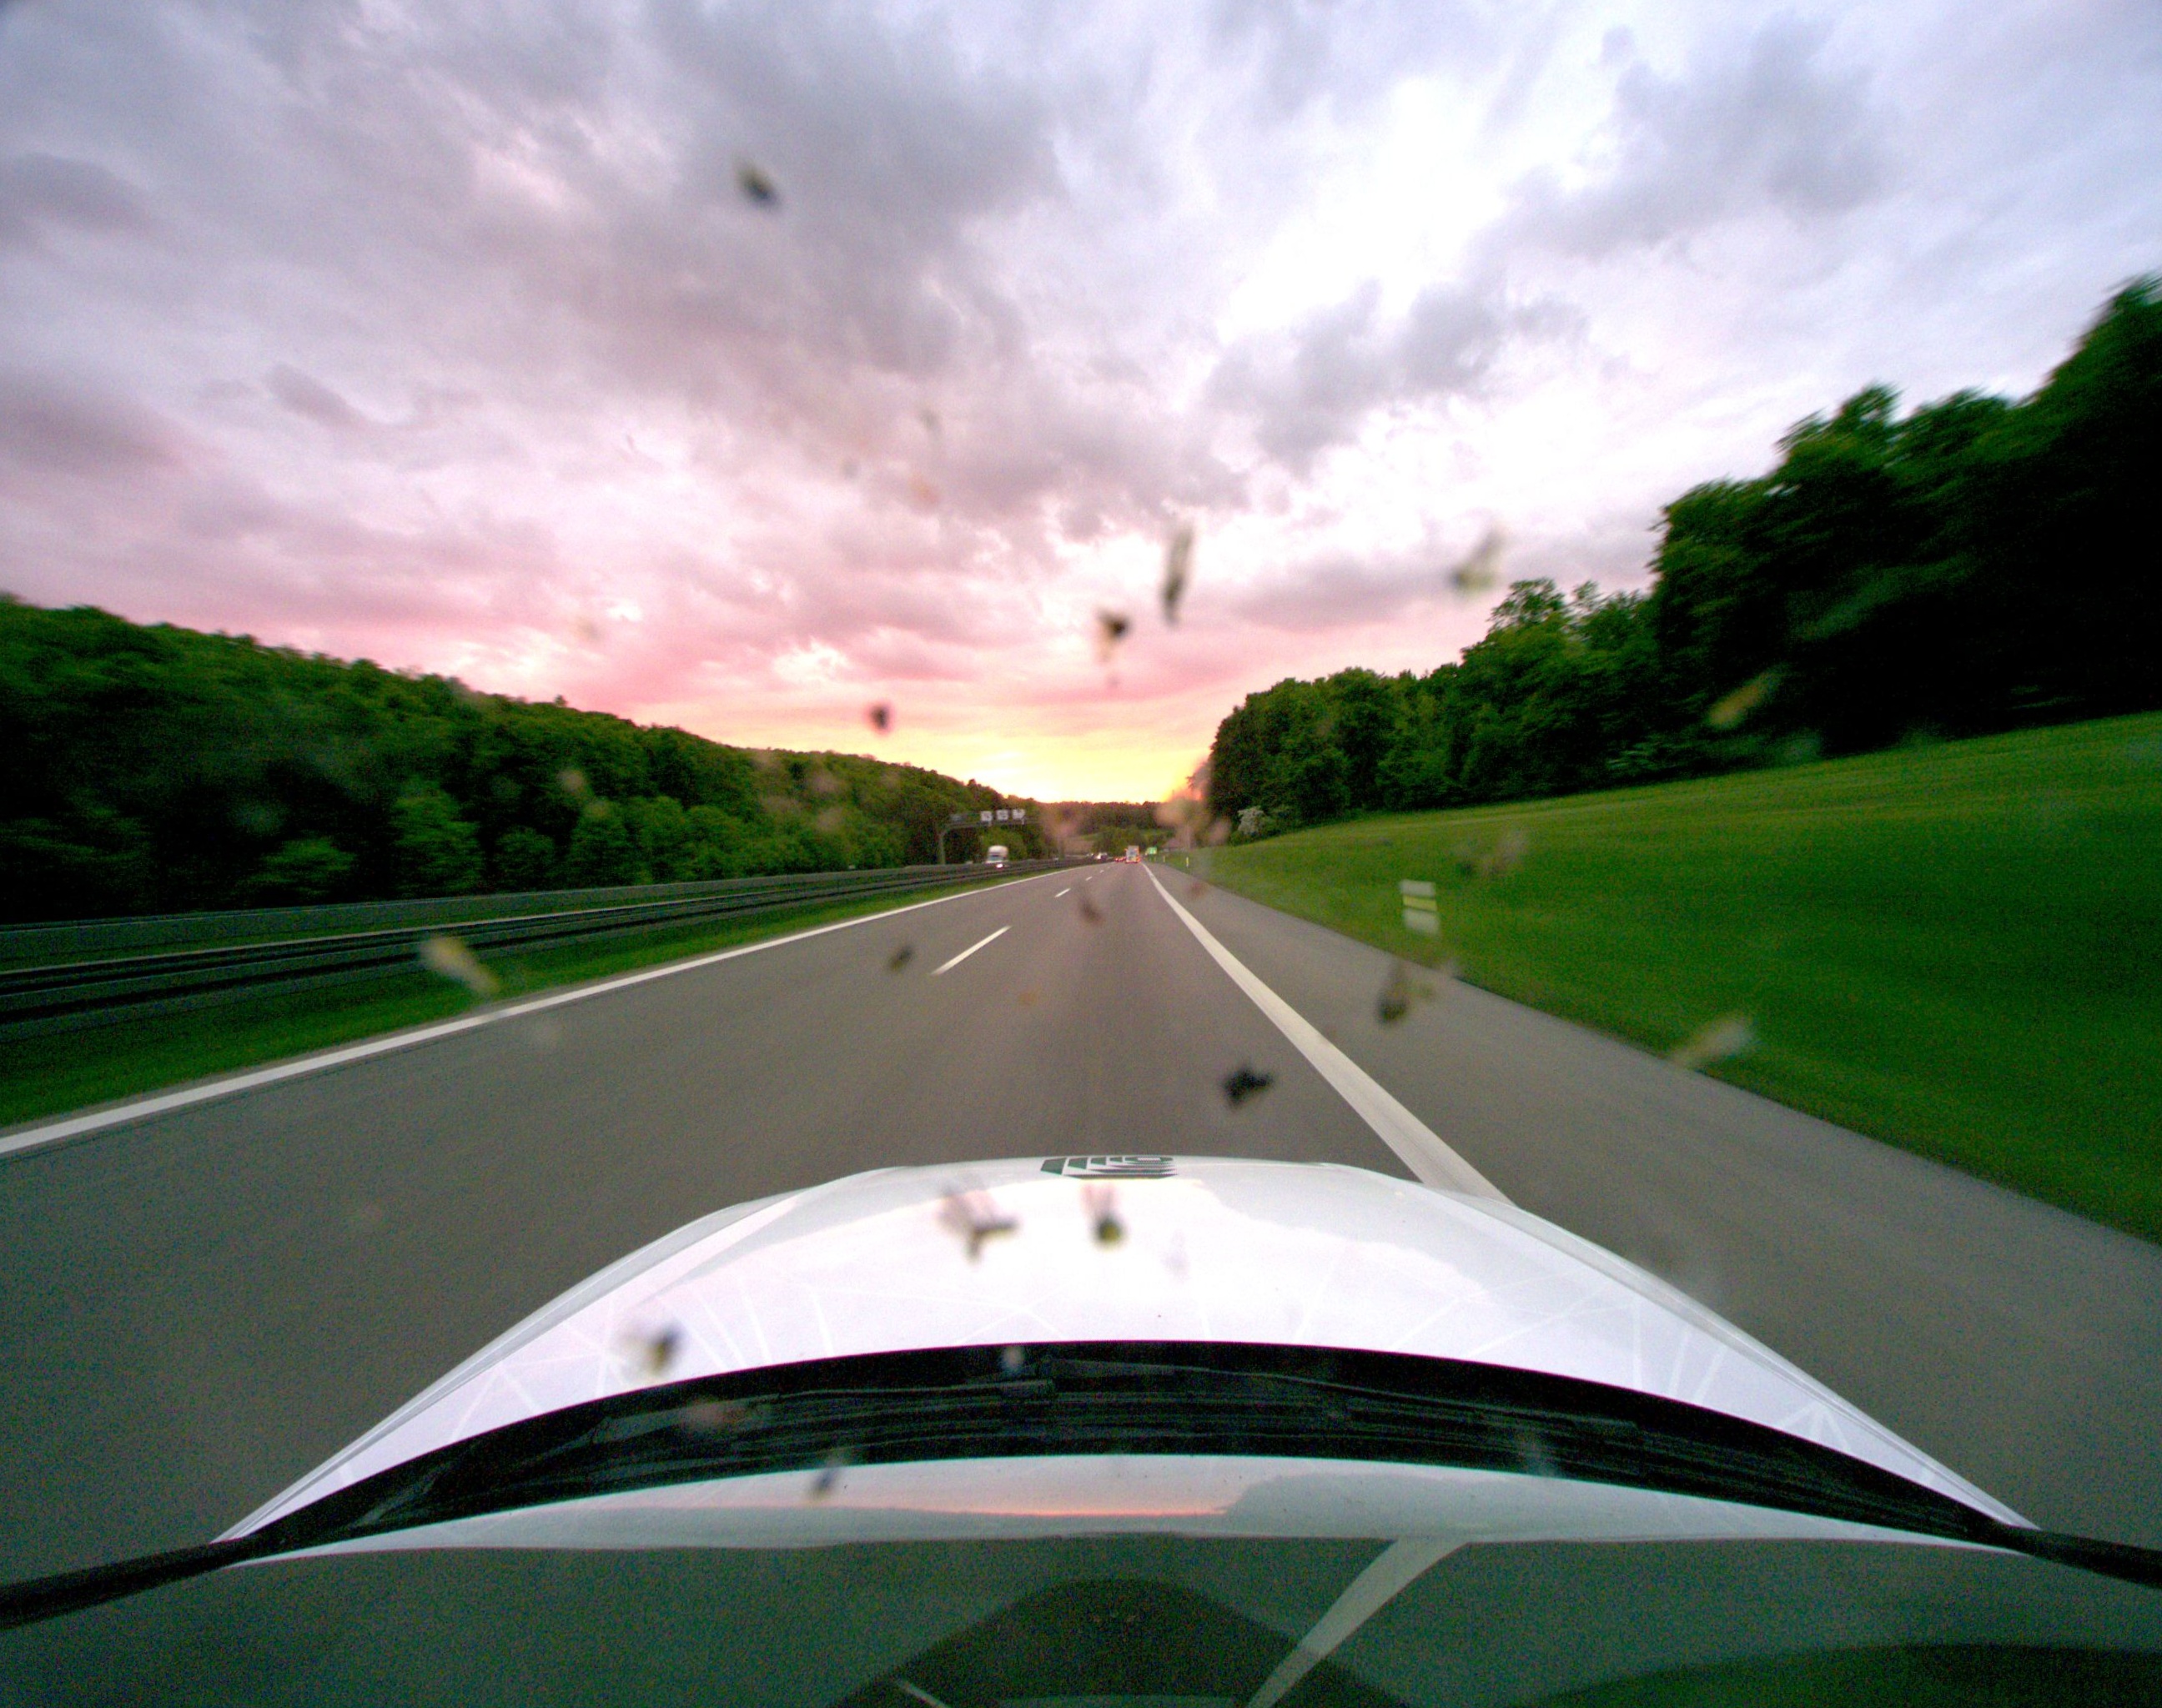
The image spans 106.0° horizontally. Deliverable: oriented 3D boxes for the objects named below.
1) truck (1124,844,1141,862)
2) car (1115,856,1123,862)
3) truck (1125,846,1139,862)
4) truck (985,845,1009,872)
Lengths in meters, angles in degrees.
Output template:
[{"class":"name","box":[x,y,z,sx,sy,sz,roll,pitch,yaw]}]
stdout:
[{"class":"truck","box":[12.862,-0.335,203.366,3.942,4.286,14.335,-3,1,3]},{"class":"car","box":[10.695,1.438,229.157,1.985,1.517,4.003,-3,1,3]},{"class":"truck","box":[9.637,-0.003,153.217,2.264,2.664,5.248,-3,2,7]},{"class":"truck","box":[-9.932,0.478,96.736,1.985,3.067,5.599,-2,0,3]}]
